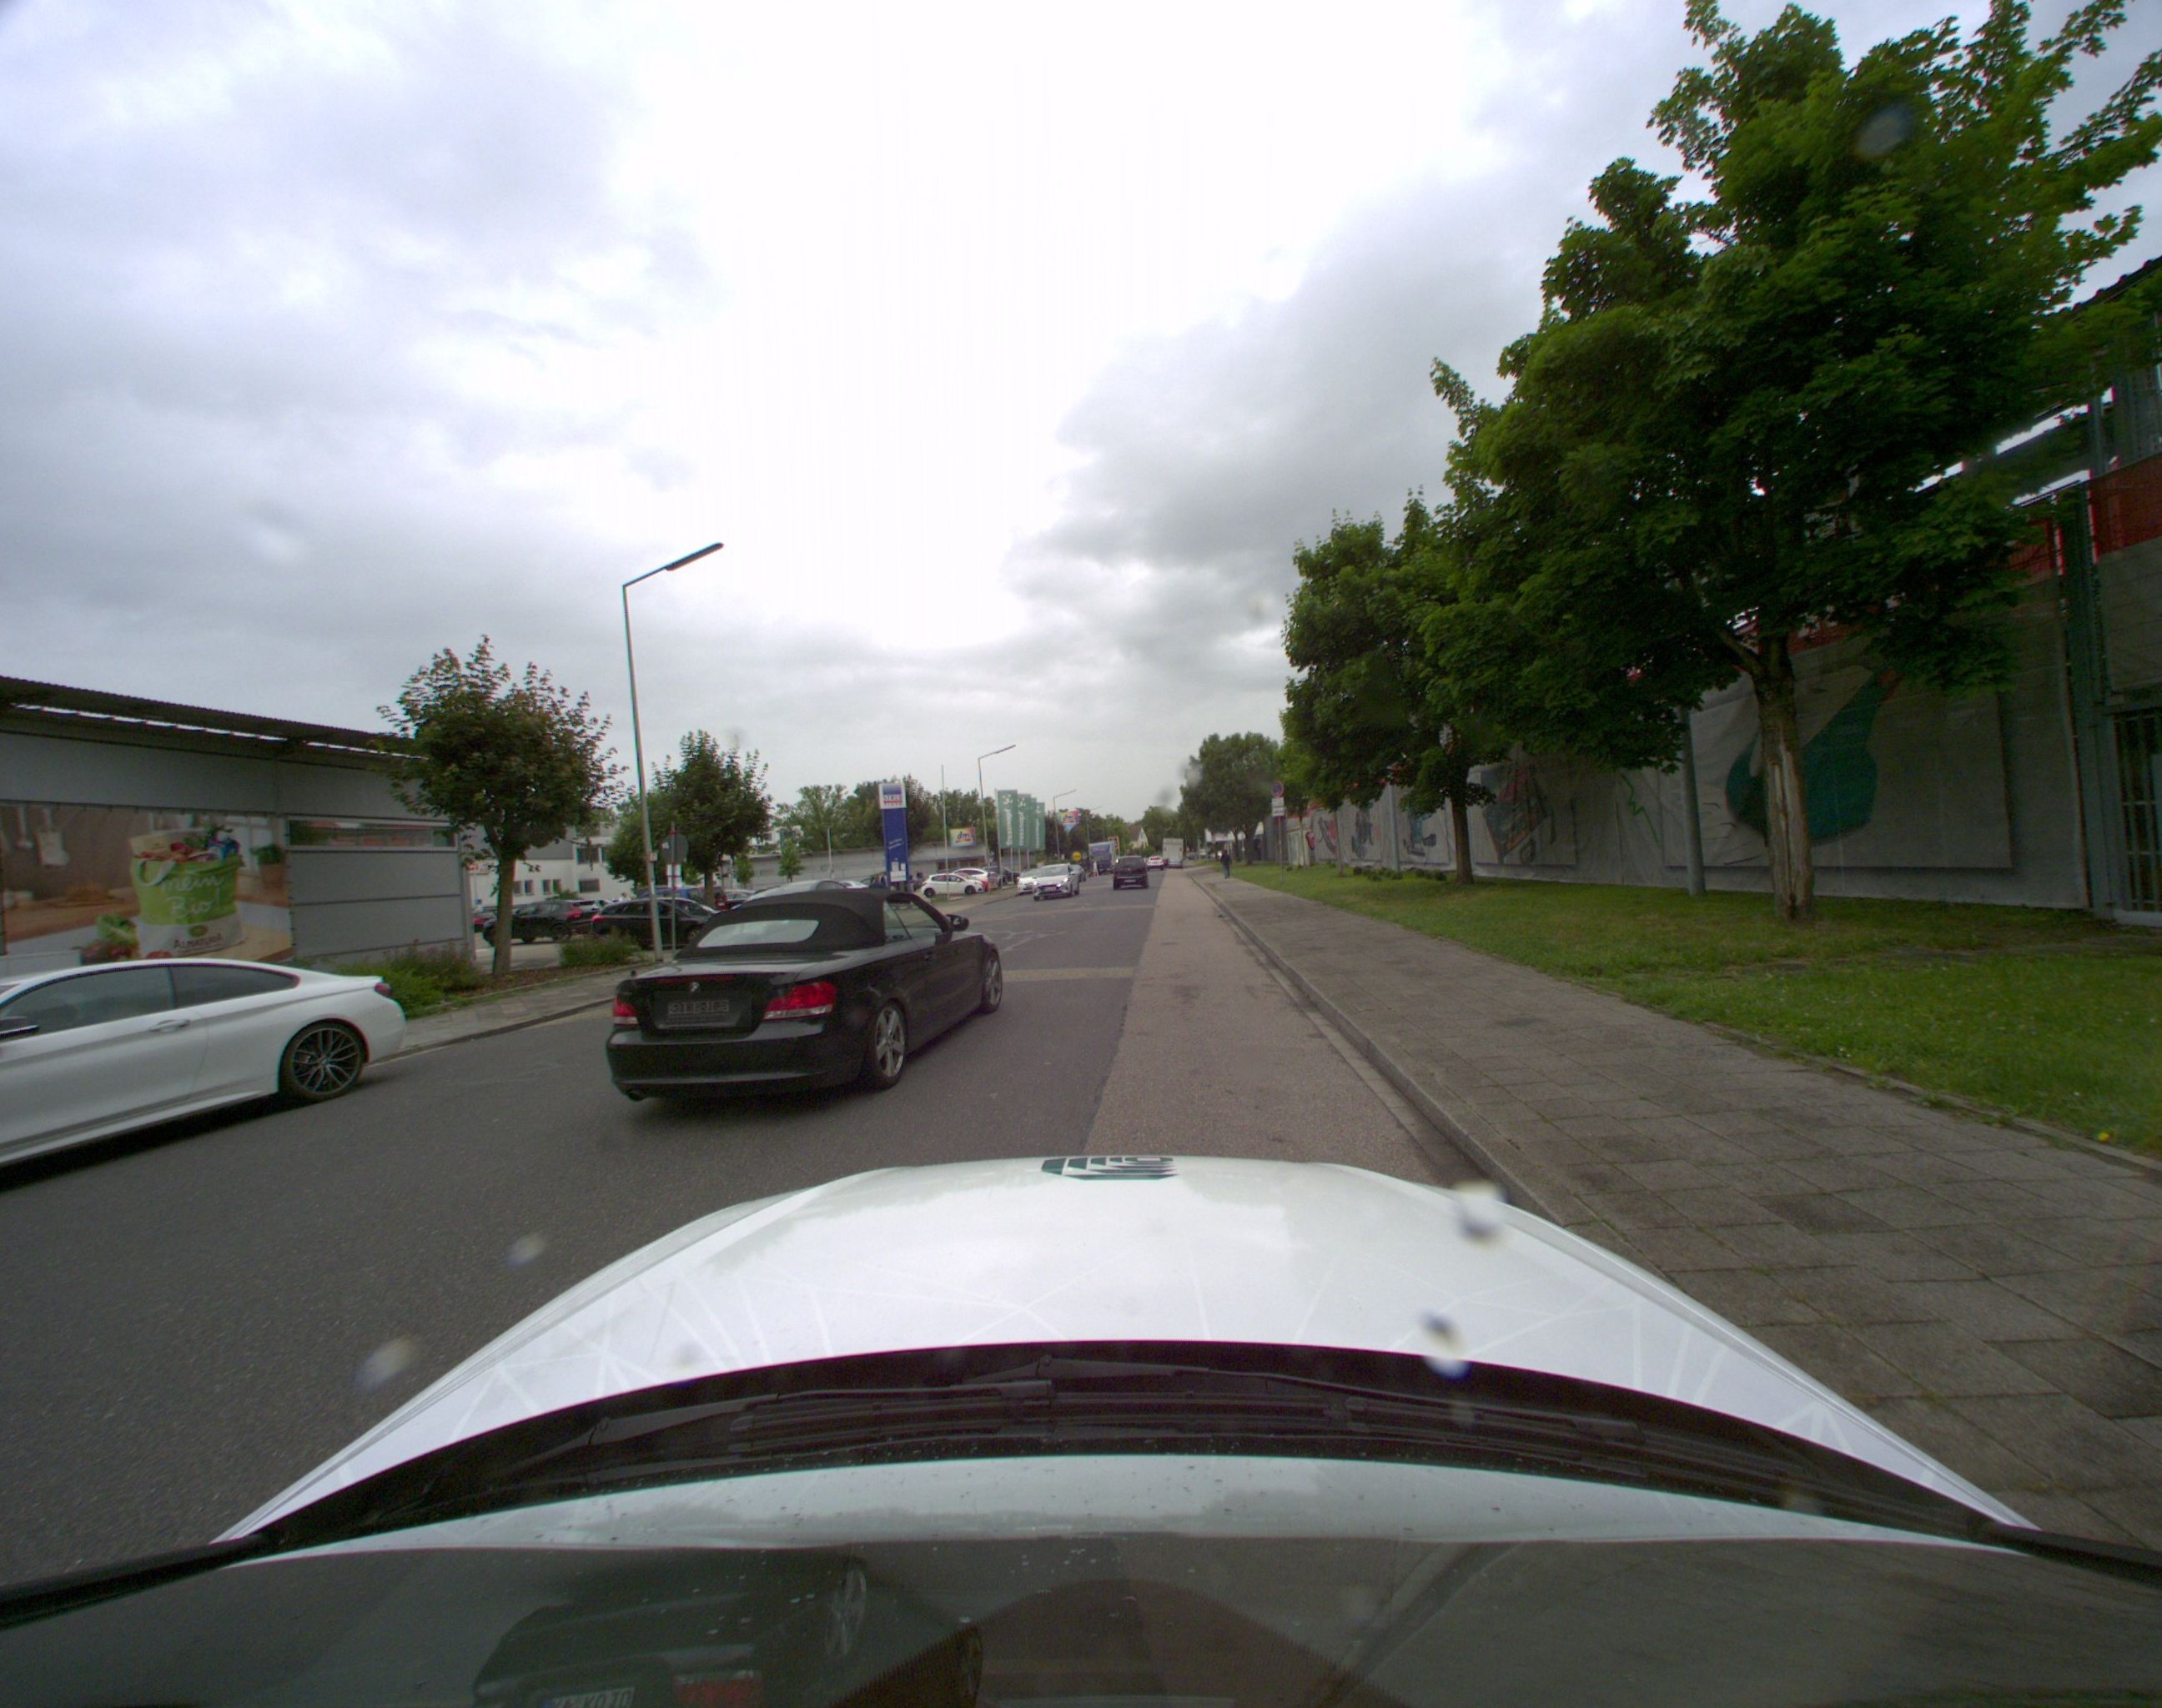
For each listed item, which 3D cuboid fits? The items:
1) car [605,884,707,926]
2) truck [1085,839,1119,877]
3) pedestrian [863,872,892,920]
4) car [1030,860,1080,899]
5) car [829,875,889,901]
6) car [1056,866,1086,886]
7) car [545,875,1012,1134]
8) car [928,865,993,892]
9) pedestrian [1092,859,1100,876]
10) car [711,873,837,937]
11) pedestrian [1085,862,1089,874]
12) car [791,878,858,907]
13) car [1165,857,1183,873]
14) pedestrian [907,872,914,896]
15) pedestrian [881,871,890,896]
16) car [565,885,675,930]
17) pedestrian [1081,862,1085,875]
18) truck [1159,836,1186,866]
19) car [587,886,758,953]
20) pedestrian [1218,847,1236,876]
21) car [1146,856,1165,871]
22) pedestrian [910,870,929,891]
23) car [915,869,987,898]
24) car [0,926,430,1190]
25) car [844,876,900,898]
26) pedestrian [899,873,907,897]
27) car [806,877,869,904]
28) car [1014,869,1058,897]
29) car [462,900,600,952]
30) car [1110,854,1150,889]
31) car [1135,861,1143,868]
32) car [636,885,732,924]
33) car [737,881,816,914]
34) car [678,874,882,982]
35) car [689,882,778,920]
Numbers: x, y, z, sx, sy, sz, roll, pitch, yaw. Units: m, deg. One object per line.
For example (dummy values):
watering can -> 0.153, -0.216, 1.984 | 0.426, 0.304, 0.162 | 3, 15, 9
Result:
car -> -20.957, 2.498, 40.245 | 3.967, 1.669, 1.880 | -5, -1, 6
truck -> 2.513, 0.432, 94.100 | 2.958, 3.955, 6.417 | -6, -1, 7
pedestrian -> -7.492, 1.529, 29.977 | 0.772, 1.715, 0.697 | -4, -1, 2
car -> -1.102, 1.121, 36.477 | 1.590, 1.528, 3.535 | -6, -1, 7
car -> -17.414, 2.688, 63.897 | 3.967, 1.669, 1.880 | -5, -1, 6
car -> -0.792, 1.781, 66.769 | 1.888, 1.367, 4.007 | -4, -1, 6
car -> -1.973, 0.945, 6.776 | 1.735, 1.358, 4.148 | -4, -1, 9
car -> -8.334, 1.686, 56.598 | 4.121, 1.463, 1.899 | -4, -1, 0
pedestrian -> 1.503, 1.391, 83.410 | 0.628, 1.636, 0.669 | -5, -1, 5
car -> -11.501, 1.889, 30.700 | 3.918, 2.013, 1.760 | -5, -1, -1
pedestrian -> 0.792, 1.816, 107.924 | 0.400, 1.531, 0.485 | -4, -1, 0
car -> -18.193, 2.698, 57.887 | 3.967, 1.669, 1.880 | -5, -1, 6
car -> 11.241, 1.287, 98.652 | 1.984, 1.806, 4.005 | -3, -1, 5
pedestrian -> -11.405, 2.000, 54.383 | 0.329, 1.570, 0.503 | -3, -1, -5
pedestrian -> -13.079, 1.992, 54.528 | 0.455, 1.642, 0.373 | -4, -1, -11
car -> -21.309, 2.468, 37.700 | 3.967, 1.669, 1.880 | -5, -1, 6
pedestrian -> 0.203, 1.763, 99.332 | 0.400, 1.531, 0.485 | -4, -1, 0
truck -> 12.046, -0.328, 107.816 | 3.120, 3.585, 10.064 | -3, -1, 5
car -> -11.628, 1.855, 23.345 | 3.853, 1.620, 1.931 | -3, -1, 6
pedestrian -> 8.354, 0.430, 46.725 | 0.914, 1.635, 0.854 | -3, -1, 8
car -> 8.228, 1.059, 89.385 | 1.876, 1.532, 4.262 | -2, 0, 7
pedestrian -> -16.094, 2.655, 81.245 | 1.393, 2.013, 1.198 | -4, -1, -34
car -> -8.223, 1.872, 51.725 | 4.192, 1.463, 1.952 | -5, -1, -2
car -> -7.394, 1.488, 5.620 | 1.690, 1.367, 4.525 | -9, -1, 6
car -> -17.050, 2.685, 66.445 | 3.966, 1.492, 1.789 | -4, -1, 7
pedestrian -> -11.959, 2.056, 54.786 | 0.358, 1.570, 0.503 | -4, -1, -4
car -> -18.333, 2.747, 61.353 | 3.967, 1.669, 1.880 | -5, -1, 6
car -> -2.635, 1.704, 48.912 | 1.888, 1.367, 4.007 | -5, -1, 6
car -> -21.075, 2.720, 31.394 | 4.004, 1.485, 1.862 | -4, -1, -22
car -> 2.480, 0.832, 40.594 | 1.671, 1.632, 3.767 | -1, 0, 8
car -> 12.535, 2.250, 176.055 | 1.534, 1.365, 3.434 | -3, -1, 7
car -> -20.729, 2.620, 42.612 | 3.967, 1.669, 1.880 | -5, -1, 6
car -> -18.633, 2.656, 49.953 | 3.967, 1.669, 1.880 | -5, -1, 6
car -> -5.748, 1.343, 16.278 | 1.938, 1.526, 4.408 | -8, -1, 5
car -> -19.034, 2.580, 44.737 | 3.967, 1.669, 1.880 | -5, -1, 6
